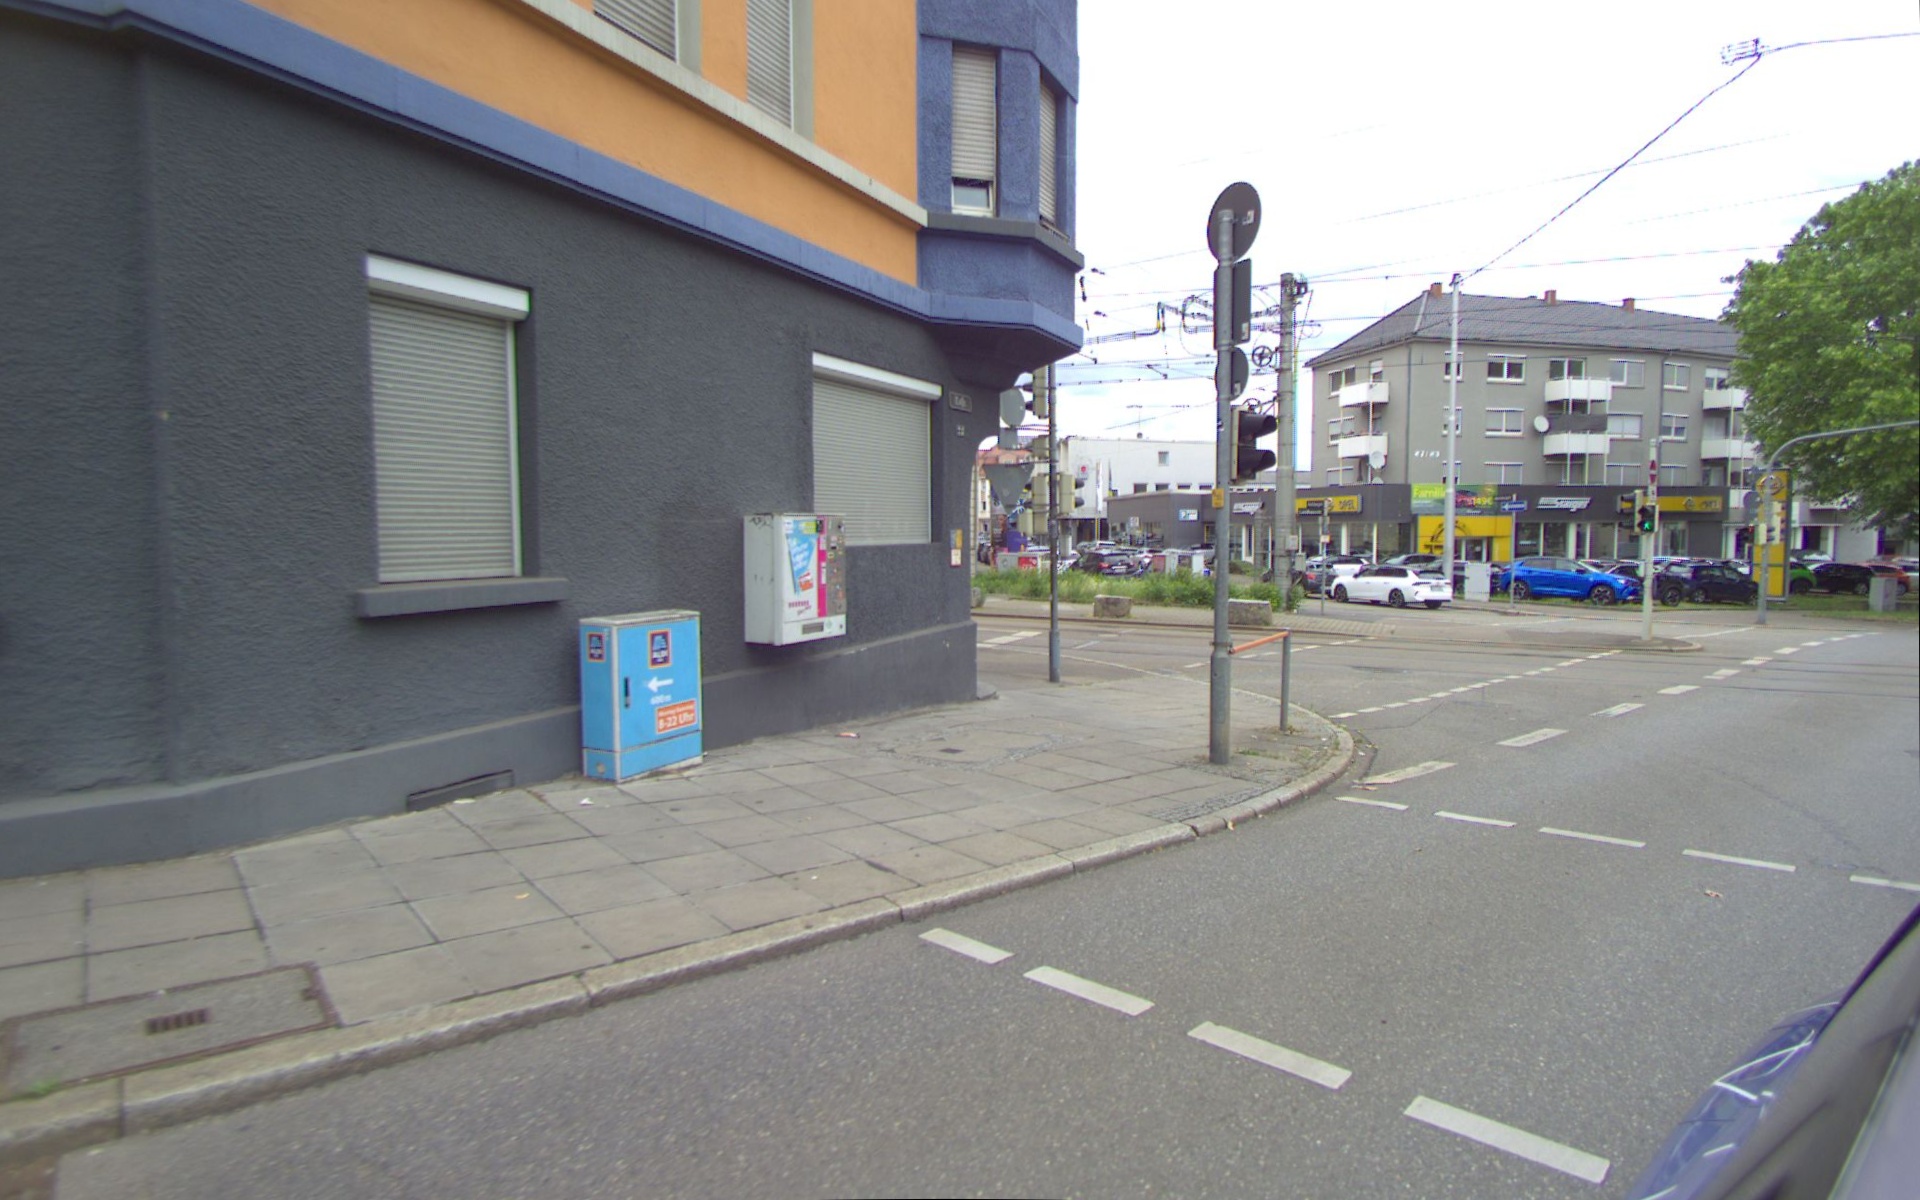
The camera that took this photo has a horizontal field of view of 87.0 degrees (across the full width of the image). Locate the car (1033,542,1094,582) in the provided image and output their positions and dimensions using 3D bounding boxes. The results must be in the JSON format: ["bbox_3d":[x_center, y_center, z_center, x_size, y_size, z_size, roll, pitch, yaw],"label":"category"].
[{"bbox_3d":[4.754,-1.814,46.983,1.879,1.652,4.150,2,4,-7],"label":"car"}]

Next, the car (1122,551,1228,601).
[{"bbox_3d":[7.699,-0.917,36.682,1.878,1.553,4.153,1,4,-18],"label":"car"}]

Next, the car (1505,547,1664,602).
[{"bbox_3d":[21.655,-0.928,35.232,1.797,1.596,4.258,1,4,-40],"label":"car"}]

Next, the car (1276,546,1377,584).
[{"bbox_3d":[17.077,-1.630,47.197,4.031,1.553,1.799,2,4,-13],"label":"car"}]

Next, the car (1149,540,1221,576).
[{"bbox_3d":[11.181,-2.120,50.512,1.878,1.553,4.152,2,4,-12],"label":"car"}]

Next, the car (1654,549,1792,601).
[{"bbox_3d":[30.313,-1.013,40.277,4.084,1.625,1.836,3,8,-8],"label":"car"}]

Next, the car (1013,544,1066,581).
[{"bbox_3d":[4.063,-1.979,52.387,1.879,1.652,4.150,2,4,-7],"label":"car"}]

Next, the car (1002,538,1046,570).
[{"bbox_3d":[3.625,-2.660,58.127,1.880,1.652,4.148,2,4,-4],"label":"car"}]

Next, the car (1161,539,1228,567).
[{"bbox_3d":[15.142,-3.044,65.431,3.818,1.553,1.721,2,4,-3],"label":"car"}]

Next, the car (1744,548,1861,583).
[{"bbox_3d":[41.259,-1.714,49.667,3.957,1.523,1.849,3,3,24],"label":"car"}]

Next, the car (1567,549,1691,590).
[{"bbox_3d":[28.571,-1.335,43.339,1.826,1.569,4.007,0,4,-30],"label":"car"}]

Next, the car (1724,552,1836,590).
[{"bbox_3d":[37.659,-1.369,46.589,3.569,1.571,1.611,3,3,22],"label":"car"}]

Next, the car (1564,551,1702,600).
[{"bbox_3d":[24.939,-0.919,37.573,3.918,1.494,1.833,3,3,-8],"label":"car"}]

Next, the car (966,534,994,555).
[{"bbox_3d":[1.637,-4.631,83.962,1.880,1.652,4.149,2,4,-5],"label":"car"}]

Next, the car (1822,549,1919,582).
[{"bbox_3d":[47.081,-1.766,51.860,3.943,1.523,1.855,3,3,15],"label":"car"}]

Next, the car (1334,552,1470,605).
[{"bbox_3d":[15.186,-0.781,35.020,1.878,1.553,4.153,1,4,-21],"label":"car"}]

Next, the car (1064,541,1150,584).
[{"bbox_3d":[6.040,-1.584,42.103,1.878,1.553,4.153,1,4,-17],"label":"car"}]

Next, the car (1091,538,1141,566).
[{"bbox_3d":[9.401,-2.928,61.267,1.879,1.553,4.150,2,4,-7],"label":"car"}]

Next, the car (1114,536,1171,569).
[{"bbox_3d":[10.145,-2.702,56.568,1.879,1.665,4.151,2,4,-8],"label":"car"}]

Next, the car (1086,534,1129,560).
[{"bbox_3d":[9.784,-3.550,67.505,1.880,1.553,4.148,2,4,-5],"label":"car"}]

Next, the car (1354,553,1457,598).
[{"bbox_3d":[19.930,-1.098,45.292,4.157,1.802,1.718,1,4,-21],"label":"car"}]

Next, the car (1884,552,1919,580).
[{"bbox_3d":[53.058,-1.812,55.107,3.556,1.523,1.789,2,3,7],"label":"car"}]

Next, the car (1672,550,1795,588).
[{"bbox_3d":[35.003,-1.432,45.865,1.827,1.569,4.003,0,4,-34],"label":"car"}]

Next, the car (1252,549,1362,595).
[{"bbox_3d":[13.559,-1.139,39.799,1.878,1.553,4.153,1,4,-19],"label":"car"}]

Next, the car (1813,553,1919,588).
[{"bbox_3d":[45.109,-1.474,50.068,3.939,1.523,1.857,3,3,13],"label":"car"}]
